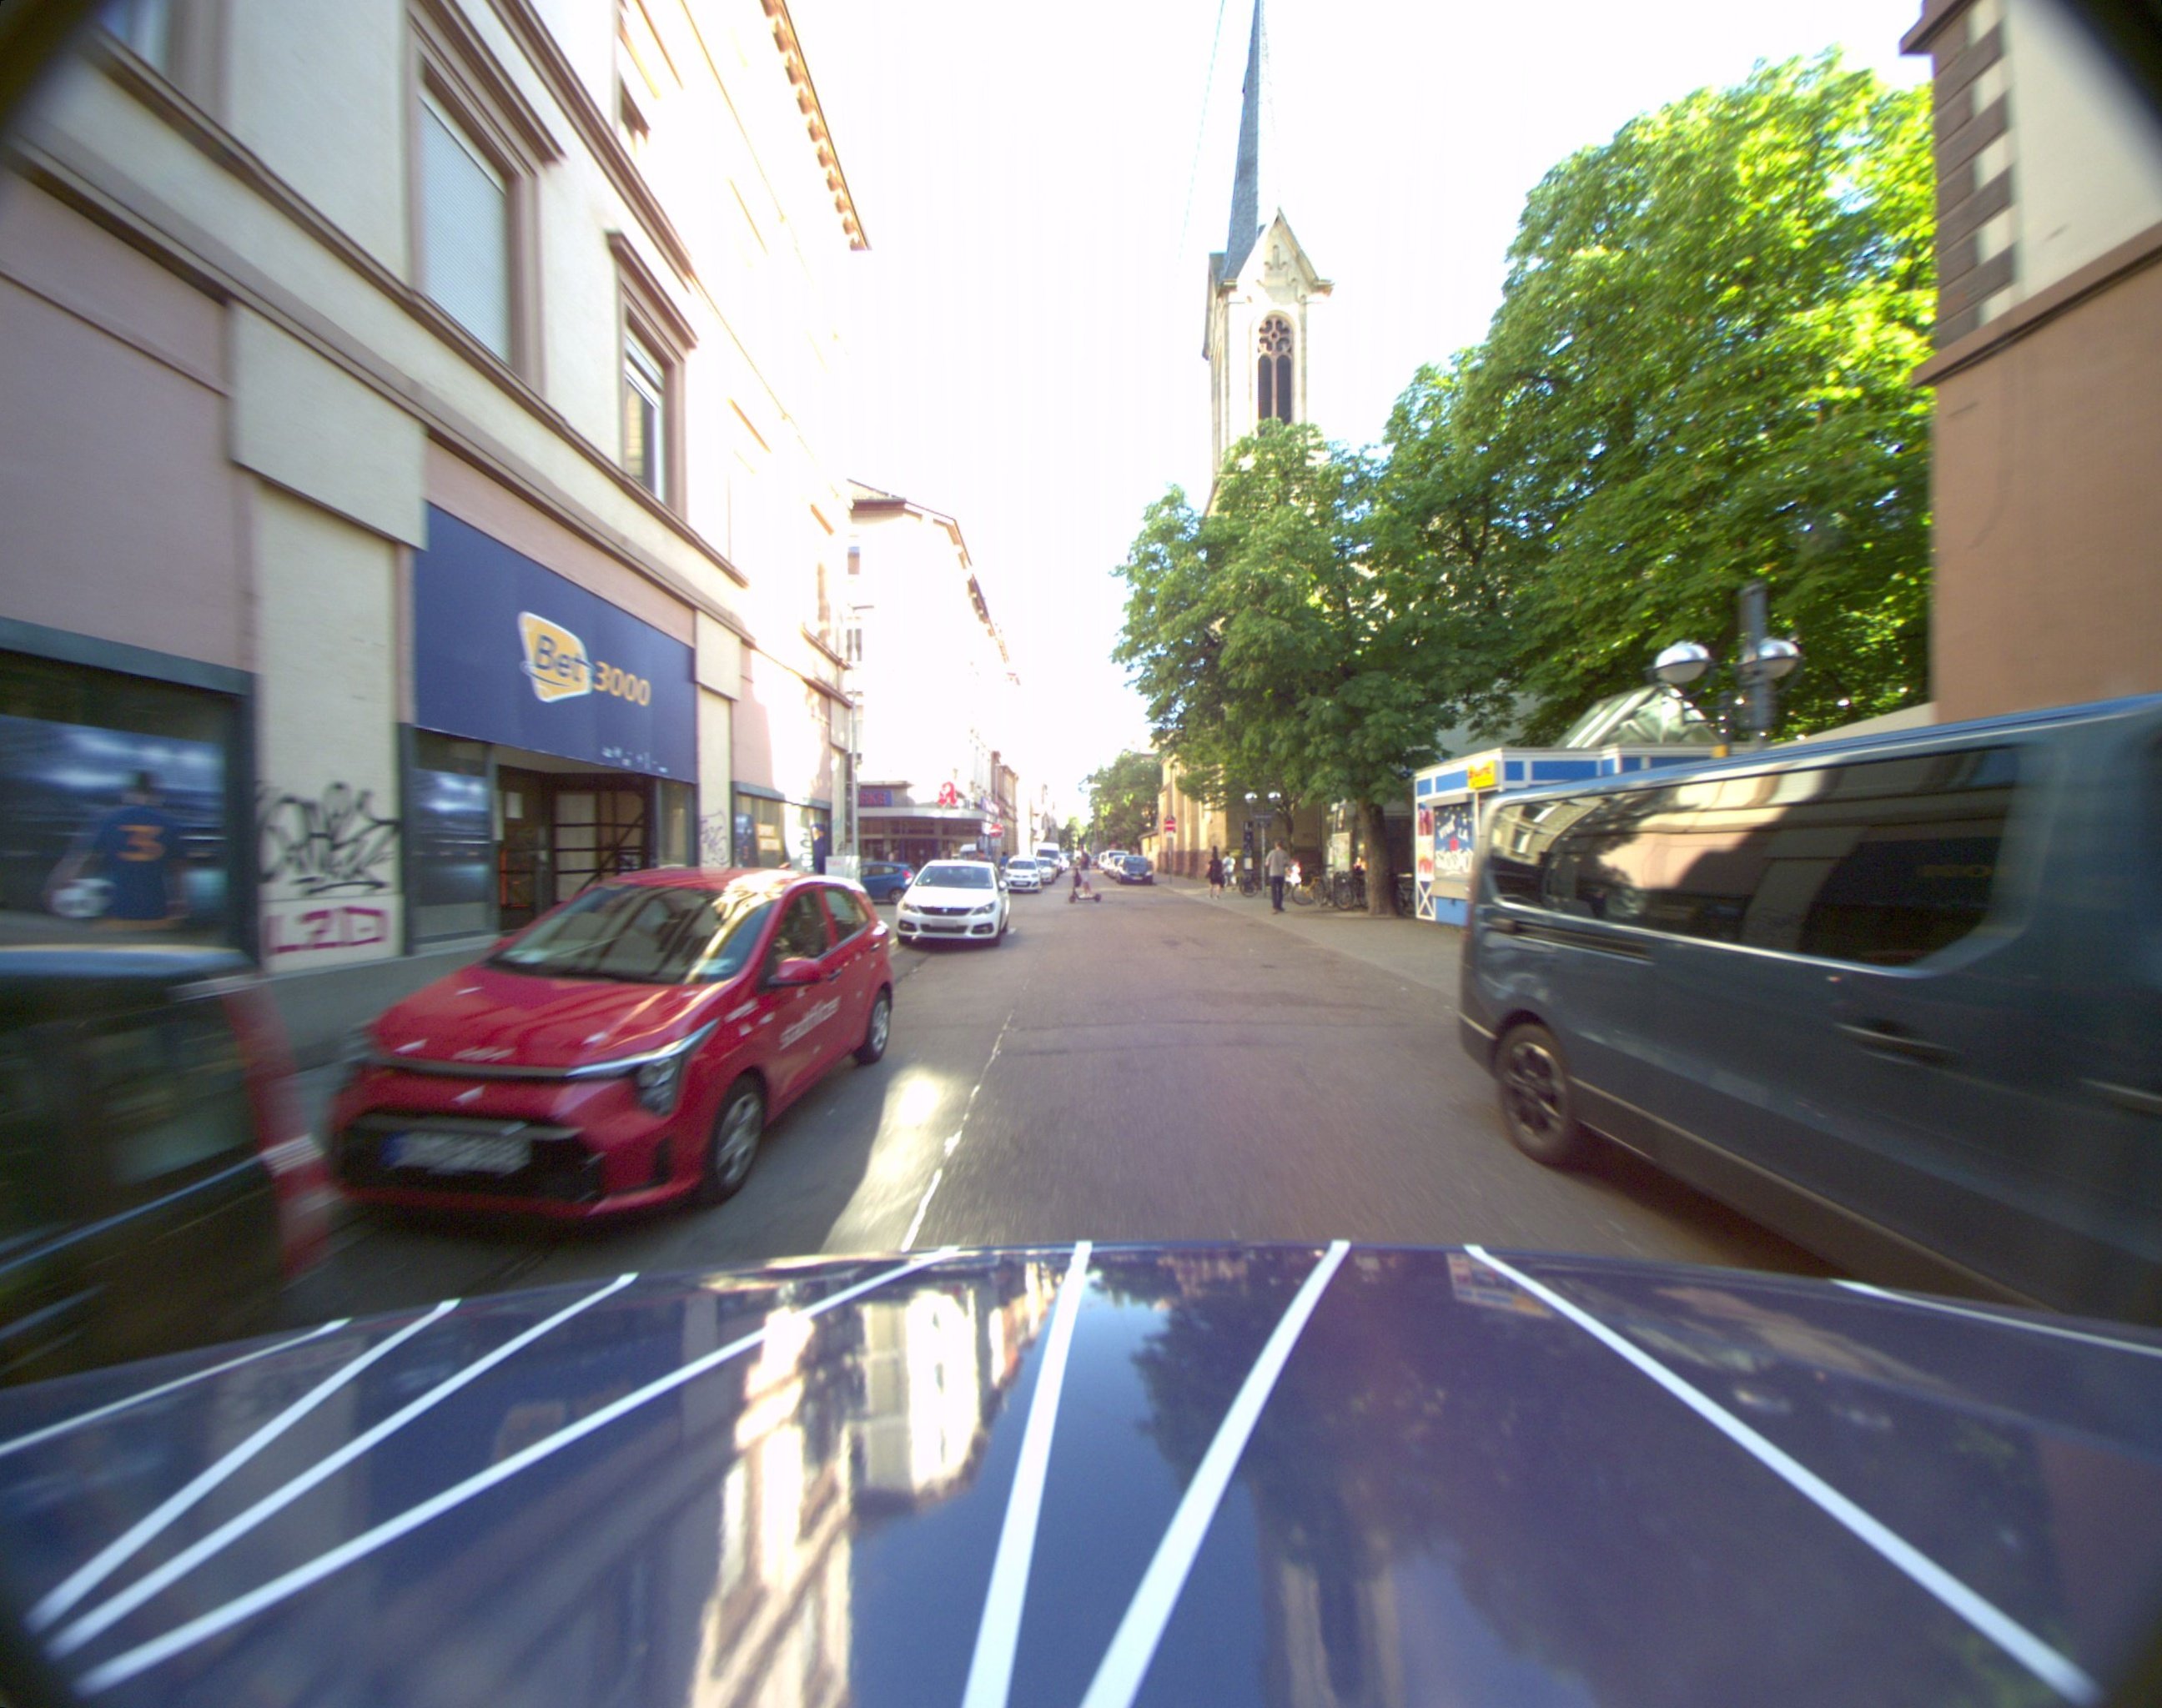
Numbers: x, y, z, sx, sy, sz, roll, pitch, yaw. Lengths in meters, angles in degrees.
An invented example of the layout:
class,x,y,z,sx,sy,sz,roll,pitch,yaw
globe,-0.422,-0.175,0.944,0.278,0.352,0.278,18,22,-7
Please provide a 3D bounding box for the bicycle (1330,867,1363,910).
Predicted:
class,x,y,z,sx,sy,sz,roll,pitch,yaw
bicycle,6.907,0.877,19.808,0.293,1.040,1.578,-2,0,0

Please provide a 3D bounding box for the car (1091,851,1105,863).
class,x,y,z,sx,sy,sz,roll,pitch,yaw
car,2.419,0.391,108.648,1.777,1.614,4.022,-1,0,-1

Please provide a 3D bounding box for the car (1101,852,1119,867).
class,x,y,z,sx,sy,sz,roll,pitch,yaw
car,3.009,0.551,79.515,1.696,1.529,3.813,-1,0,0

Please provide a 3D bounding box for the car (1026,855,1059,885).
class,x,y,z,sx,sy,sz,roll,pitch,yaw
car,-2.150,0.879,43.296,1.558,1.518,4.200,-2,1,0

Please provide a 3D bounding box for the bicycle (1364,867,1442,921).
class,x,y,z,sx,sy,sz,roll,pitch,yaw
bicycle,7.361,0.877,17.485,0.499,1.124,2.035,-2,0,-14

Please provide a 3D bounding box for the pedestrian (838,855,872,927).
class,x,y,z,sx,sy,sz,roll,pitch,yaw
pedestrian,-5.291,0.860,17.771,0.599,1.640,0.466,-1,-1,31

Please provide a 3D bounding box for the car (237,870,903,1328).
class,x,y,z,sx,sy,sz,roll,pitch,yaw
car,-2.328,0.961,4.638,1.610,1.563,3.553,-2,1,0

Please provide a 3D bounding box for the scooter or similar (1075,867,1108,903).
class,x,y,z,sx,sy,sz,roll,pitch,yaw
scooter or similar,0.332,1.020,25.180,1.057,1.153,0.514,-2,1,-1

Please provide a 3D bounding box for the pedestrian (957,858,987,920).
class,x,y,z,sx,sy,sz,roll,pitch,yaw
pedestrian,-2.969,0.938,20.739,0.527,1.629,0.566,0,2,44

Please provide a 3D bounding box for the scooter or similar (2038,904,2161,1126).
class,x,y,z,sx,sy,sz,roll,pitch,yaw
scooter or similar,6.275,0.935,4.144,0.348,1.209,1.391,-2,1,0

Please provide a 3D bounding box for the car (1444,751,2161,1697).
class,x,y,z,sx,sy,sz,roll,pitch,yaw
car,3.134,0.706,1.862,2.025,1.868,5.297,-2,0,1

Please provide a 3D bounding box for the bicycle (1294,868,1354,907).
class,x,y,z,sx,sy,sz,roll,pitch,yaw
bicycle,6.902,0.949,21.601,1.576,1.076,0.347,-1,1,11

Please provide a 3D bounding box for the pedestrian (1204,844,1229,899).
class,x,y,z,sx,sy,sz,roll,pitch,yaw
pedestrian,4.747,0.605,26.674,0.718,1.862,0.720,-2,1,-1

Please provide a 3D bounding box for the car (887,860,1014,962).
class,x,y,z,sx,sy,sz,roll,pitch,yaw
car,-2.289,0.937,14.364,1.792,1.507,4.135,-2,1,-2

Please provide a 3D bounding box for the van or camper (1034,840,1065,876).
class,x,y,z,sx,sy,sz,roll,pitch,yaw
van or camper,-2.403,0.278,59.203,1.998,2.617,5.978,-2,1,0

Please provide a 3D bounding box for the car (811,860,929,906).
class,x,y,z,sx,sy,sz,roll,pitch,yaw
car,-7.253,0.972,26.422,3.582,1.477,1.788,-1,1,0

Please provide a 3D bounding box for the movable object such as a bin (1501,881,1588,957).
class,x,y,z,sx,sy,sz,roll,pitch,yaw
movable object such as a bin,7.111,0.982,11.693,0.872,1.080,0.774,-2,1,1

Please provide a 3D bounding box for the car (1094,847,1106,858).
class,x,y,z,sx,sy,sz,roll,pitch,yaw
car,2.963,-0.276,119.148,1.777,1.614,4.022,-1,0,-1

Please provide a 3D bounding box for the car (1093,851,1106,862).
class,x,y,z,sx,sy,sz,roll,pitch,yaw
car,2.694,0.374,113.304,1.777,1.614,4.022,-1,0,-1

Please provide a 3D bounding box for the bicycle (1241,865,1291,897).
class,x,y,z,sx,sy,sz,roll,pitch,yaw
bicycle,6.631,0.968,27.317,1.694,1.059,0.346,-2,1,-2

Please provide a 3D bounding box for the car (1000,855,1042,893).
class,x,y,z,sx,sy,sz,roll,pitch,yaw
car,-2.577,0.822,33.245,1.694,1.454,3.639,-2,1,-3

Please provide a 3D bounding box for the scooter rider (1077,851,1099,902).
class,x,y,z,sx,sy,sz,roll,pitch,yaw
scooter rider,0.230,0.726,25.207,0.689,1.638,0.720,-2,1,-1

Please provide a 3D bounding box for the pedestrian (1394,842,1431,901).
class,x,y,z,sx,sy,sz,roll,pitch,yaw
pedestrian,10.588,0.537,24.326,0.695,1.815,1.003,-2,1,-2

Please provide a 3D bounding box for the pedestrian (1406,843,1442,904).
class,x,y,z,sx,sy,sz,roll,pitch,yaw
pedestrian,10.526,0.585,23.360,0.763,1.825,0.688,-2,1,-2

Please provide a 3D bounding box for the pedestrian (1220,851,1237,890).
class,x,y,z,sx,sy,sz,roll,pitch,yaw
pedestrian,6.049,0.660,31.178,0.480,1.584,0.714,-2,1,-3

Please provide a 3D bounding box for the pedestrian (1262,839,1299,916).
class,x,y,z,sx,sy,sz,roll,pitch,yaw
pedestrian,4.915,0.569,18.757,0.648,1.823,0.697,-3,1,0

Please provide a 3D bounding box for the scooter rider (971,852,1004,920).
class,x,y,z,sx,sy,sz,roll,pitch,yaw
scooter rider,-2.512,0.844,20.380,0.609,1.768,0.566,0,2,40

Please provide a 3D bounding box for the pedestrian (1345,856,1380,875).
class,x,y,z,sx,sy,sz,roll,pitch,yaw
pedestrian,11.989,0.489,32.450,0.959,0.756,1.406,-2,1,0

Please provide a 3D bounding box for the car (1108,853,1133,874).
class,x,y,z,sx,sy,sz,roll,pitch,yaw
car,2.922,0.701,57.248,1.696,1.472,3.736,-1,0,0

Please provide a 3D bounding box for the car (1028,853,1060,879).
class,x,y,z,sx,sy,sz,roll,pitch,yaw
car,-2.554,0.809,53.347,1.998,1.637,4.563,-2,1,0

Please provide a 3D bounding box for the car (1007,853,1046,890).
class,x,y,z,sx,sy,sz,roll,pitch,yaw
car,-2.685,0.813,38.076,1.704,1.641,4.063,-2,1,-1

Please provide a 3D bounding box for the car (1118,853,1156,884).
class,x,y,z,sx,sy,sz,roll,pitch,yaw
car,3.038,0.740,41.862,1.798,1.543,3.833,-2,1,0

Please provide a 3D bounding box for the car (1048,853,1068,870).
class,x,y,z,sx,sy,sz,roll,pitch,yaw
car,-2.201,0.702,73.343,1.696,1.615,3.963,-1,0,0

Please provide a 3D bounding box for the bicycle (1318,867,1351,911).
class,x,y,z,sx,sy,sz,roll,pitch,yaw
bicycle,6.590,0.888,19.811,0.293,1.076,1.578,-2,0,0

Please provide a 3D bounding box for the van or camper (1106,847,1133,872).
class,x,y,z,sx,sy,sz,roll,pitch,yaw
van or camper,3.165,0.418,63.245,1.984,1.940,4.562,-1,0,0

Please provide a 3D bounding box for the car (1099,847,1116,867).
class,x,y,z,sx,sy,sz,roll,pitch,yaw
car,2.939,0.274,84.670,1.777,2.128,4.022,-1,0,0

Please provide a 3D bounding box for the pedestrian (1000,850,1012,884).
class,x,y,z,sx,sy,sz,roll,pitch,yaw
pedestrian,-4.224,0.728,42.667,0.563,1.883,0.530,-2,1,-1

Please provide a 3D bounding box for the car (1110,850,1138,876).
class,x,y,z,sx,sy,sz,roll,pitch,yaw
car,2.902,0.575,51.742,1.724,1.558,3.999,-2,1,1
